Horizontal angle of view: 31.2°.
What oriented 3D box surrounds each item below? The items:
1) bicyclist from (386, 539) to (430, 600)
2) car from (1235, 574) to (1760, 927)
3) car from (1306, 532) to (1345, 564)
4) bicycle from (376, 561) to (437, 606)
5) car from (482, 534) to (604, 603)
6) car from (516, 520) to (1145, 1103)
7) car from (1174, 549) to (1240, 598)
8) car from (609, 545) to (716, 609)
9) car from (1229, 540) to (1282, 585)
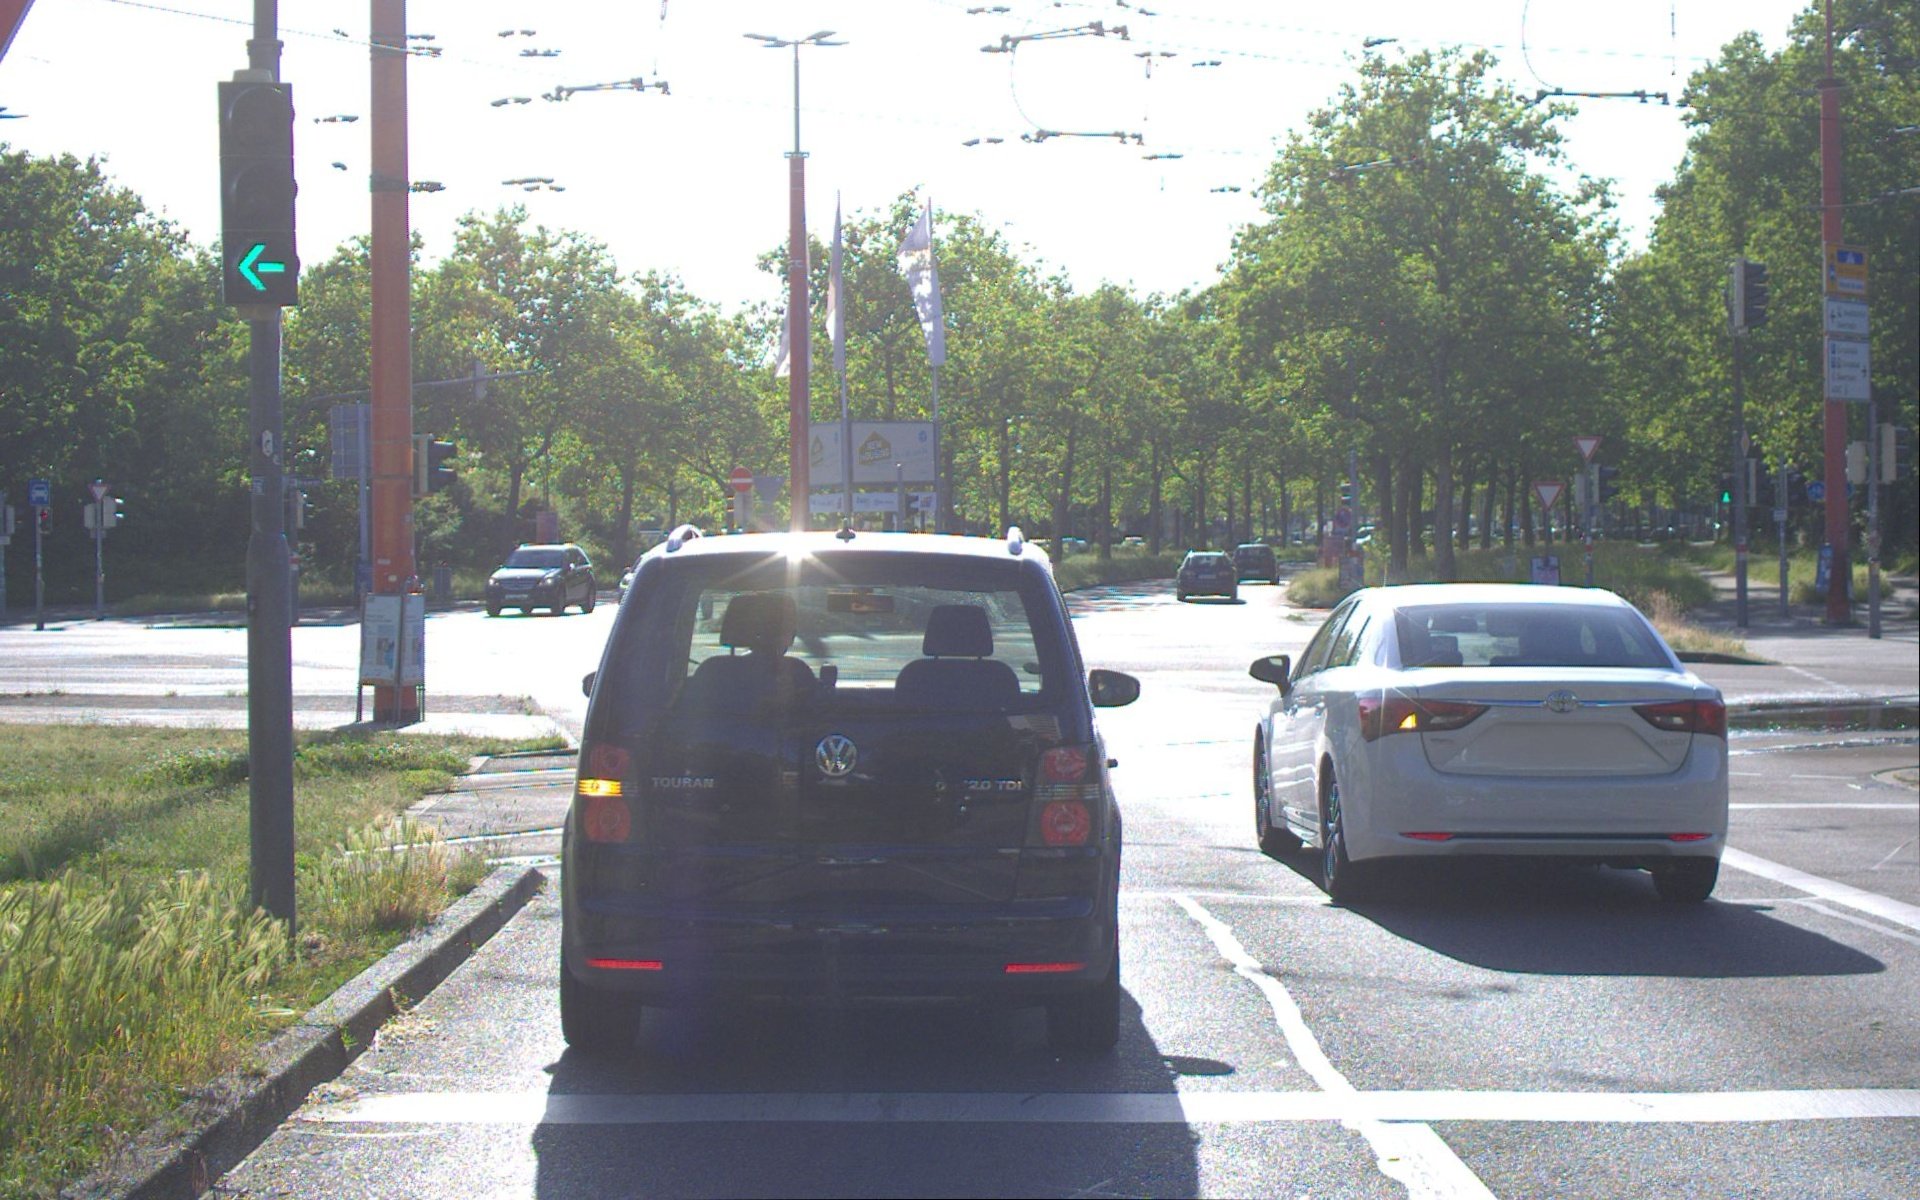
[{"bbox_3d":[-14.238,-0.783,88.685,0.759,1.552,0.980,-1,2,16],"label":"bicyclist"},{"bbox_3d":[2.486,0.630,16.954,1.767,1.459,4.367,0,1,-2],"label":"car"},{"bbox_3d":[17.687,-2.516,166.296,1.790,1.497,4.049,1,1,7],"label":"car"},{"bbox_3d":[-14.256,-0.438,88.616,0.764,1.087,2.014,-1,2,16],"label":"bicycle"},{"bbox_3d":[-10.646,-0.832,88.059,1.903,1.720,4.652,0,1,9],"label":"car"},{"bbox_3d":[-0.416,0.550,12.177,1.767,1.638,4.924,0,1,-1],"label":"car"},{"bbox_3d":[7.329,-0.798,101.733,1.790,1.383,4.049,1,1,7],"label":"car"},{"bbox_3d":[-7.392,-0.584,85.742,1.768,1.533,4.090,0,1,8],"label":"car"},{"bbox_3d":[11.025,-1.387,128.377,1.872,1.621,3.999,1,0,4],"label":"car"}]
